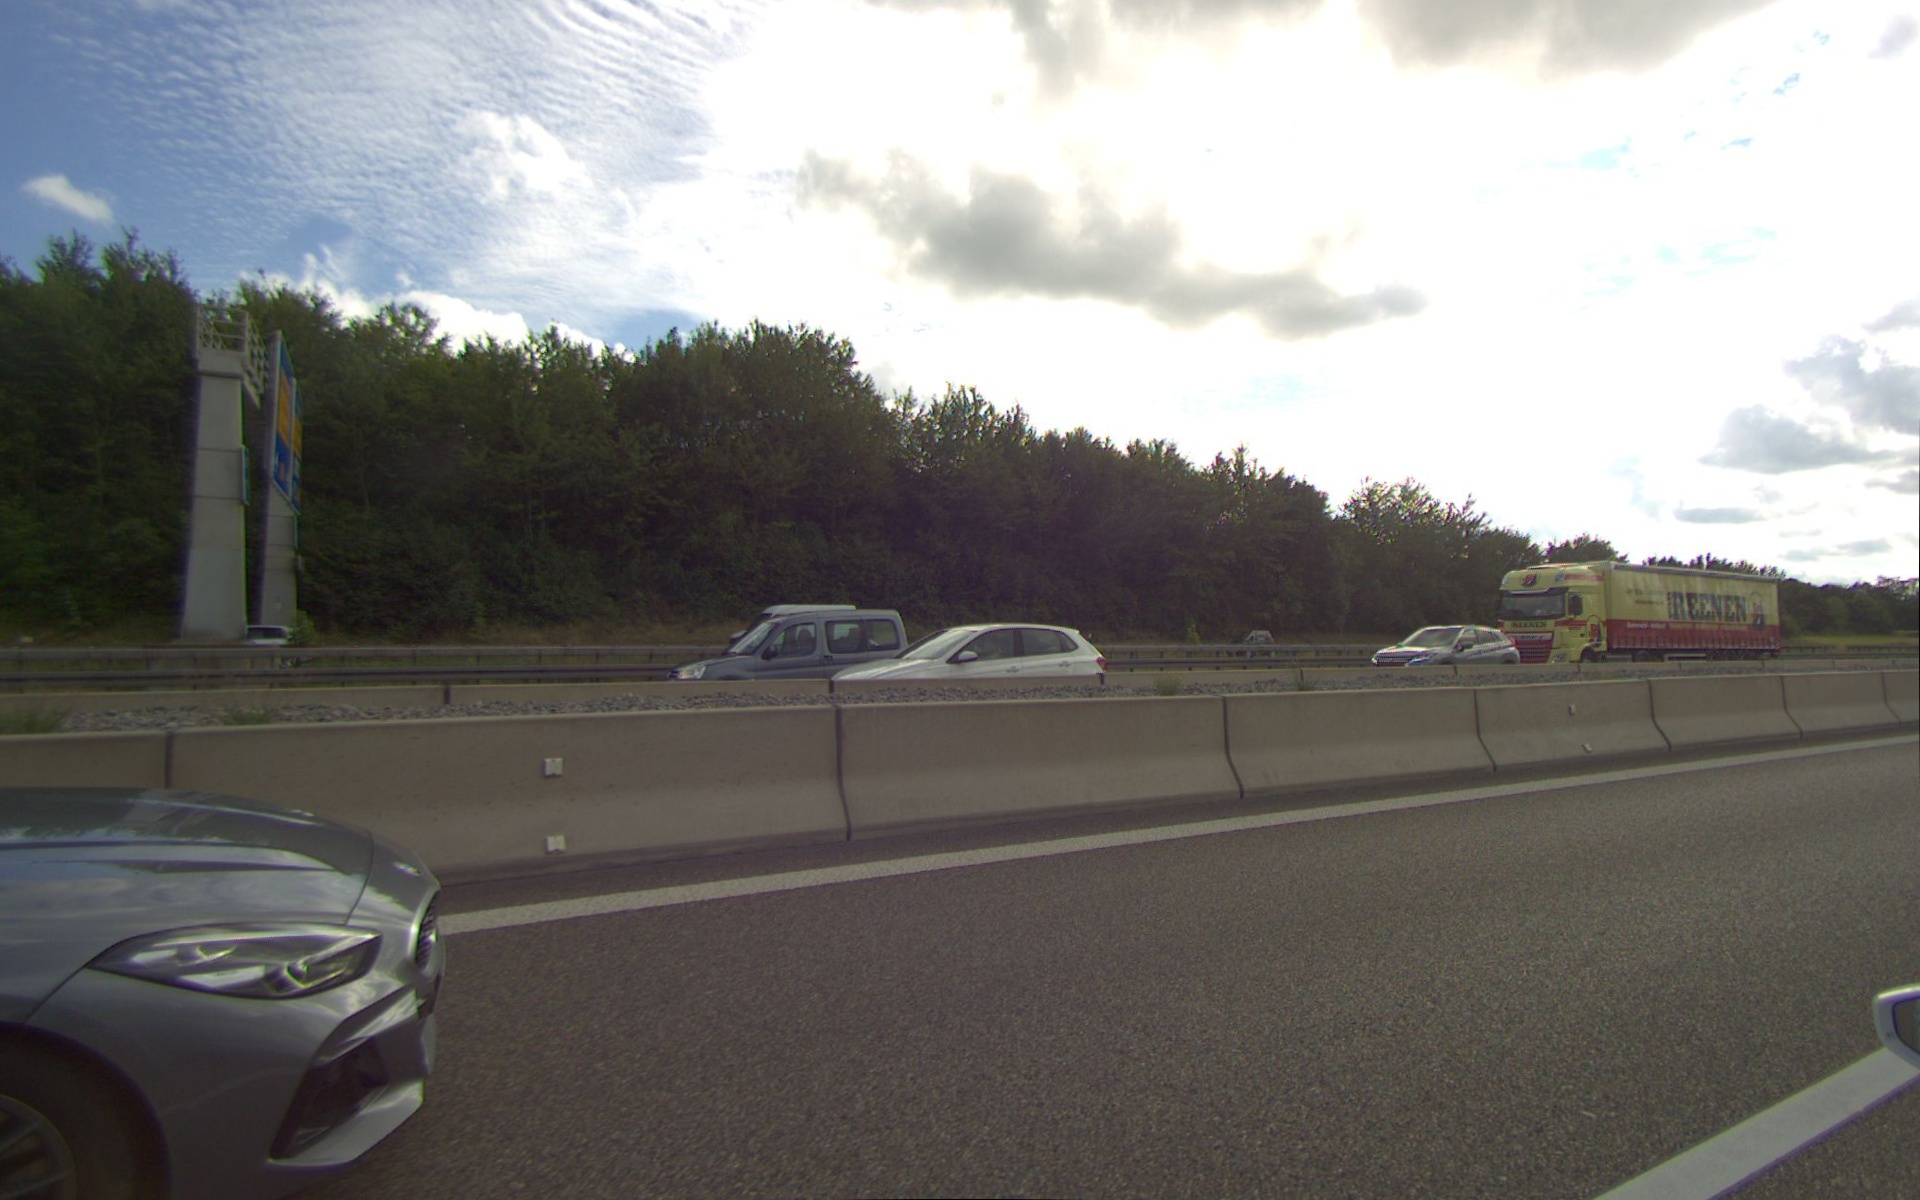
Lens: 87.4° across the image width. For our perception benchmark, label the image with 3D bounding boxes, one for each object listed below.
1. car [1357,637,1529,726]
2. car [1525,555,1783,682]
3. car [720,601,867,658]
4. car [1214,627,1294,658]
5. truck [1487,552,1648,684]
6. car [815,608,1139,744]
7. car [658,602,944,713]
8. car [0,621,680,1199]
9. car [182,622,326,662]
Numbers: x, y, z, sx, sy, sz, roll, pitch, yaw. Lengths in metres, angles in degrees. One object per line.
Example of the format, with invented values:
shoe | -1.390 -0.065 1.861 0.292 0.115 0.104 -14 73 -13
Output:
car | 12.398 2.004 25.703 4.501 2.040 1.744 1 0 -31
car | 27.616 0.790 39.542 13.982 4.382 2.891 1 -1 -31
car | -6.996 1.264 42.438 5.819 2.264 1.985 1 -1 -30
car | 16.570 2.375 56.557 4.367 1.684 1.838 2 -2 -30
truck | 21.757 0.674 35.983 5.101 4.380 2.883 1 -1 -30
car | 0.283 0.964 13.803 4.132 1.593 1.767 1 0 -31
car | -2.567 0.893 16.623 4.412 1.632 1.586 1 0 -31
car | -3.257 0.712 2.020 4.885 1.320 1.864 1 -1 -31
car | -23.059 1.371 32.962 3.717 1.234 1.458 1 -1 -31
